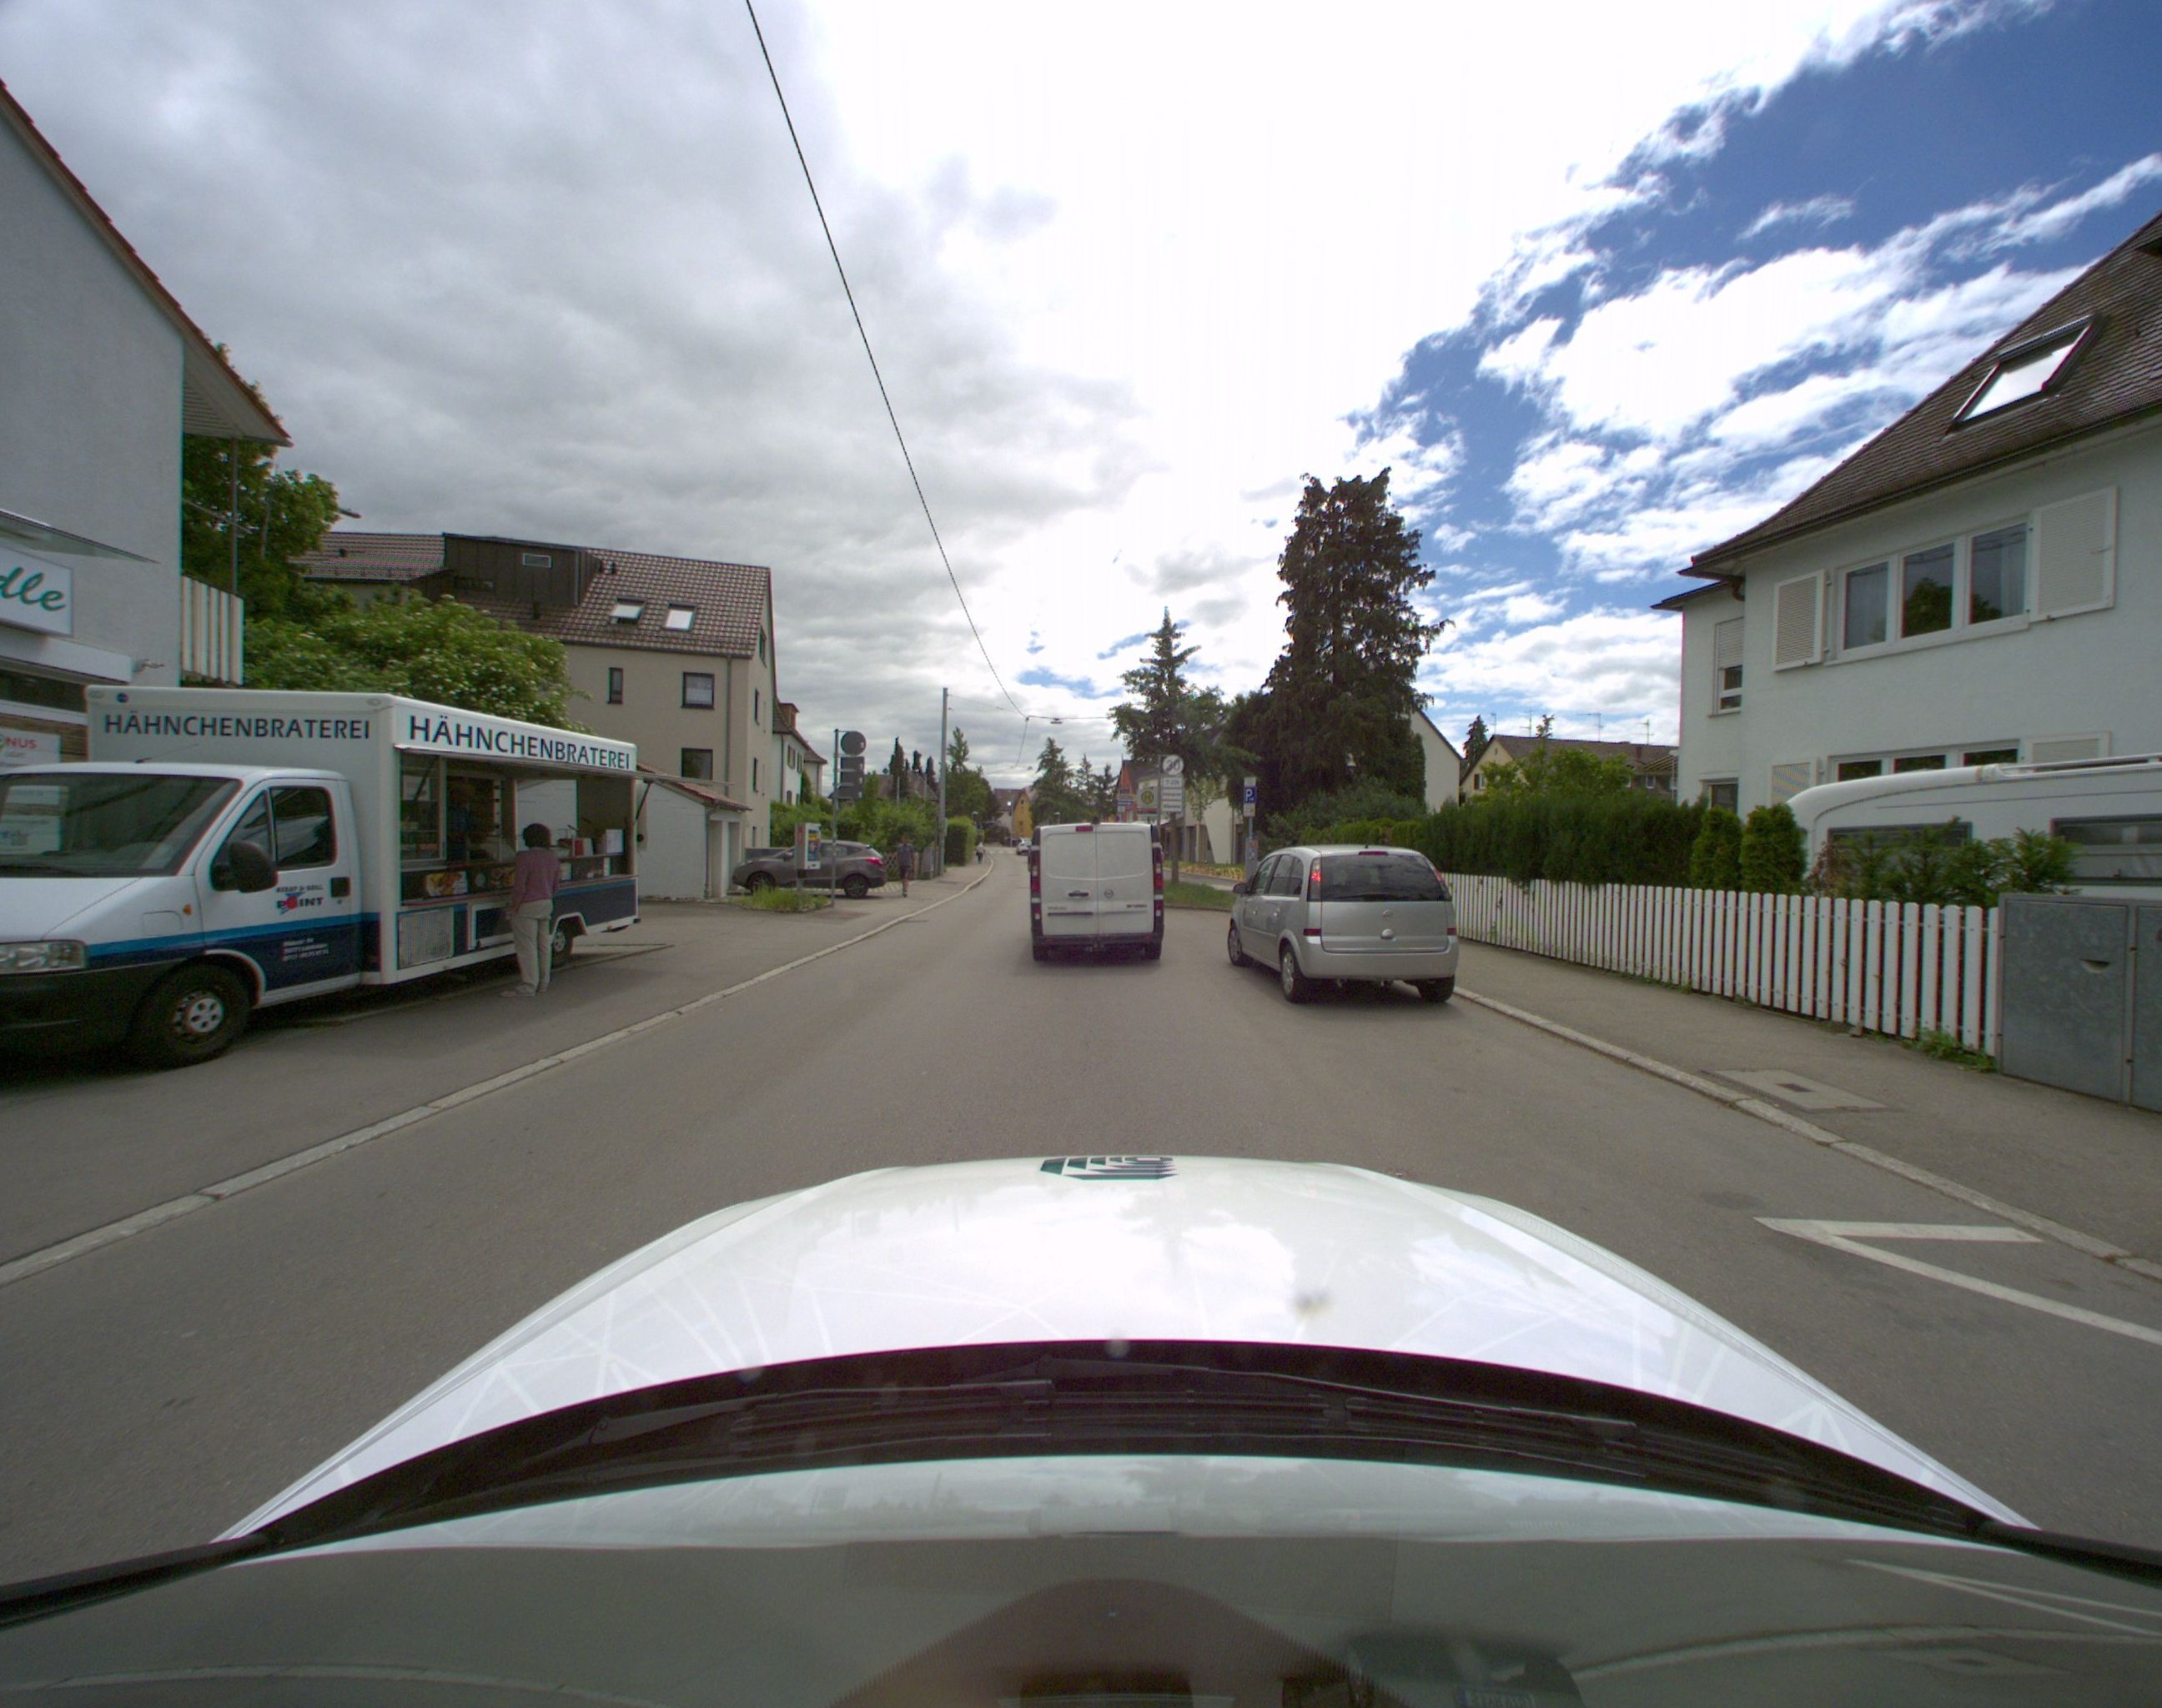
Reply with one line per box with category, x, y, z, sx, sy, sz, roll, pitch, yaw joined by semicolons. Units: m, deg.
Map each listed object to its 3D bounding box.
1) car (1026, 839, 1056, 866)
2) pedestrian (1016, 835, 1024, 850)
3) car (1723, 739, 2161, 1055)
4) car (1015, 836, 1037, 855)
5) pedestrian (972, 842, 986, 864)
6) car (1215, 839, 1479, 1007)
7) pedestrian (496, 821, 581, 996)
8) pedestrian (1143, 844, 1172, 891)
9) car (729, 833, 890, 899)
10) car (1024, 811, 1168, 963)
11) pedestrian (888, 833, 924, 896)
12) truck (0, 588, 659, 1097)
car;-2.941;-0.117;59.330;1.991;1.848;3.991;0;0;-7
pedestrian;-6.696;-1.279;89.314;0.805;1.609;0.625;3;0;-11
car;10.205;0.403;8.446;2.497;2.681;5.169;3;0;-10
car;-5.359;-0.802;78.970;1.991;1.782;3.991;0;0;-7
pedestrian;-7.346;-0.067;58.702;0.880;1.485;0.451;3;0;-27
car;2.868;0.644;9.755;1.754;1.582;4.016;-1;0;-2
pedestrian;-5.504;0.536;8.284;0.400;1.695;0.596;3;0;-4
pedestrian;2.757;0.470;29.435;0.851;1.645;0.883;3;0;-1
car;-7.956;0.361;24.296;4.316;1.695;1.790;3;0;-13
car;0.100;0.429;13.009;1.911;2.002;4.433;0;0;-3
pedestrian;-5.557;0.322;25.879;0.730;1.946;1.218;3;0;2
truck;-6.918;-0.097;7.837;2.467;2.840;6.700;1;0;-3
